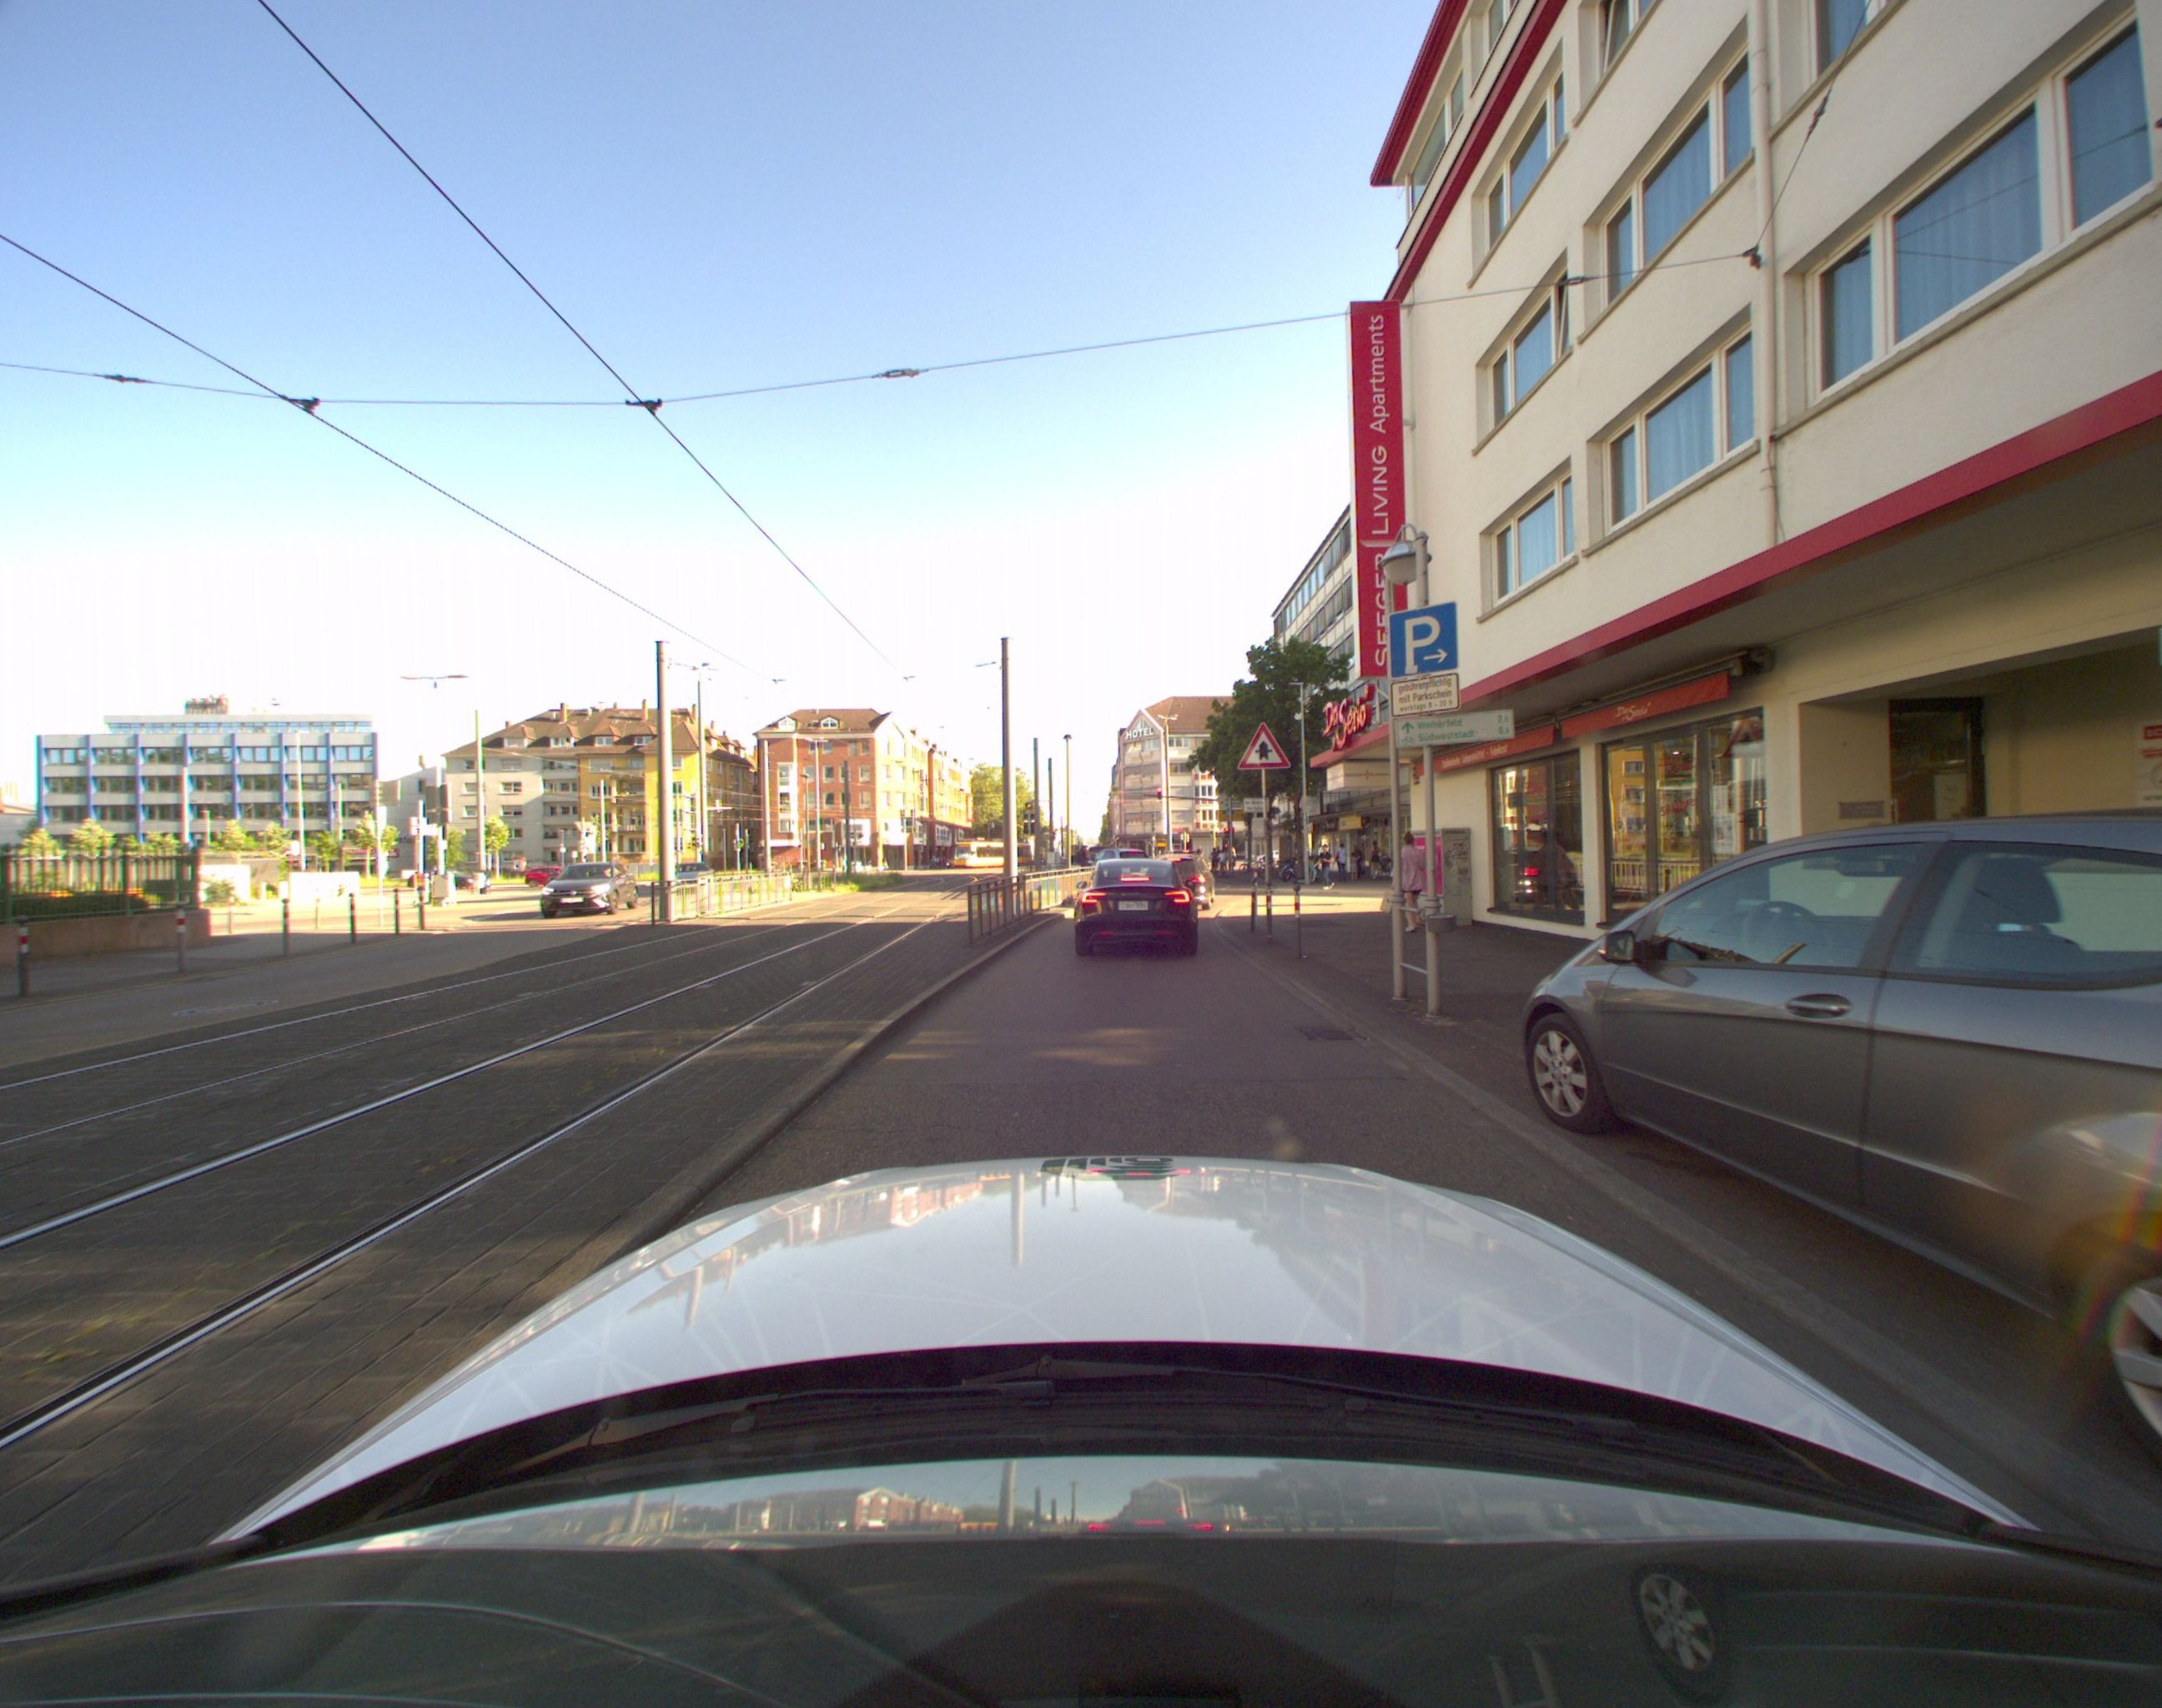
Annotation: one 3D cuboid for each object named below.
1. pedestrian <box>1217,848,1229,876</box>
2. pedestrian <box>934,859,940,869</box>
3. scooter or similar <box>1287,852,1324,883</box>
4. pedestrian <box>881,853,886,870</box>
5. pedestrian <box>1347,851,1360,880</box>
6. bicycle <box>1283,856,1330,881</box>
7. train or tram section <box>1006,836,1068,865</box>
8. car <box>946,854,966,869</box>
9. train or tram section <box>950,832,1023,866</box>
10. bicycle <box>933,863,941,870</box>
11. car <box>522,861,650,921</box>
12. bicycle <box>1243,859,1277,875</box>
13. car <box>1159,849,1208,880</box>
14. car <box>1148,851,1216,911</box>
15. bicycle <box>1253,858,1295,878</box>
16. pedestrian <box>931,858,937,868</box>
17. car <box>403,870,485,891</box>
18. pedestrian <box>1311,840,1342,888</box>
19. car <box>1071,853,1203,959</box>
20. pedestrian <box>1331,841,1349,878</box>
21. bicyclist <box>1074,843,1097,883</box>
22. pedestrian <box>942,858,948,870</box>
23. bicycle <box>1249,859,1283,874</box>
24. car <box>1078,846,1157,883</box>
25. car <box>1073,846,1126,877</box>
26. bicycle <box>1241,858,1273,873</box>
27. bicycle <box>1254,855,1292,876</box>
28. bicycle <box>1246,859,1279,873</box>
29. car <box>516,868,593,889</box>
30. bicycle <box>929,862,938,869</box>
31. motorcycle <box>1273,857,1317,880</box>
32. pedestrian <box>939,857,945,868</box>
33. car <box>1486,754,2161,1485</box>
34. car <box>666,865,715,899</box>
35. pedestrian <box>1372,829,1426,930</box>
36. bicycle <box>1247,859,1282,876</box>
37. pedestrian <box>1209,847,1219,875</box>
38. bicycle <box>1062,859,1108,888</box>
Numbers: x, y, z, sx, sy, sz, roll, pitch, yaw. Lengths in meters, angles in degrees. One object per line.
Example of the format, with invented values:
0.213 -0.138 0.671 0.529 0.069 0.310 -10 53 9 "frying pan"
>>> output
8.405 0.480 48.170 0.626 1.613 0.644 0 0 5 "pedestrian"
-19.661 1.348 111.056 0.694 1.308 0.564 -2 0 0 "pedestrian"
9.833 0.591 35.640 1.415 1.317 0.691 -1 -2 -24 "scooter or similar"
-24.067 0.908 99.133 0.565 2.014 0.349 1 -1 -14 "pedestrian"
12.416 0.527 37.143 0.418 1.280 0.531 -2 -1 3 "pedestrian"
10.514 0.682 38.005 2.043 1.121 0.483 -1 -1 2 "bicycle"
-5.732 -0.407 110.452 2.615 3.718 15.462 0 0 20 "train or tram section"
-17.396 0.976 113.140 1.986 2.013 4.002 -1 0 2 "car"
-10.908 -0.523 96.501 2.652 3.715 14.260 0 0 19 "train or tram section"
-19.659 1.660 111.135 0.699 0.855 2.054 -2 0 1 "bicycle"
-13.951 0.972 23.227 1.766 1.512 4.262 -1 0 -12 "car"
10.587 0.769 48.142 1.917 0.950 0.526 -1 -1 2 "bicycle"
5.253 0.522 42.149 1.821 1.519 3.644 1 0 -4 "car"
2.759 0.642 21.798 1.644 1.418 4.010 1 1 9 "car"
9.976 0.716 42.184 2.043 0.982 0.483 -1 -1 2 "bicycle"
-19.694 1.155 108.941 0.708 1.342 0.666 -1 0 1 "pedestrian"
-45.294 1.879 57.987 4.143 1.490 1.933 0 0 -8 "car"
9.126 0.378 30.272 1.009 1.742 0.524 1 -1 -24 "pedestrian"
0.789 0.739 13.264 1.843 1.484 3.787 0 0 0 "car"
11.734 0.267 36.902 0.593 1.641 0.466 -2 -1 3 "pedestrian"
0.161 0.346 31.633 0.835 1.500 0.559 1 -1 -7 "bicyclist"
-19.281 1.384 115.359 0.710 1.667 0.563 1 -1 -8 "pedestrian"
11.146 0.729 49.129 1.917 0.888 0.526 -1 -1 2 "bicycle"
1.534 0.424 35.730 1.791 1.519 4.185 1 0 -24 "car"
0.903 0.385 42.024 1.825 1.519 4.201 1 0 -11 "car"
11.095 0.731 51.291 1.917 0.890 0.526 -1 -1 2 "bicycle"
10.439 0.635 44.229 1.917 1.097 0.555 -1 -1 2 "bicycle"
11.213 0.735 50.263 1.917 0.890 0.526 -1 -1 2 "bicycle"
-37.849 1.746 58.645 4.143 1.490 1.933 0 0 -8 "car"
-19.690 1.577 108.879 0.699 0.855 2.054 -2 0 1 "bicycle"
10.532 0.709 40.093 1.984 1.128 0.596 1 -1 1 "motorcycle"
-19.303 1.188 113.239 0.710 1.555 0.563 1 -1 -8 "pedestrian"
3.294 0.554 3.080 1.739 1.632 3.650 -2 0 2 "car"
-20.160 1.420 42.186 1.788 1.568 4.264 -2 0 -19 "car"
5.489 0.420 14.033 0.810 1.683 0.718 0 -1 24 "pedestrian"
10.593 0.763 47.126 1.917 0.950 0.526 -1 -1 2 "bicycle"
8.226 0.417 50.274 0.559 1.683 0.751 0 0 6 "pedestrian"
0.150 0.749 31.508 1.726 1.088 0.676 1 -1 -7 "bicycle"
